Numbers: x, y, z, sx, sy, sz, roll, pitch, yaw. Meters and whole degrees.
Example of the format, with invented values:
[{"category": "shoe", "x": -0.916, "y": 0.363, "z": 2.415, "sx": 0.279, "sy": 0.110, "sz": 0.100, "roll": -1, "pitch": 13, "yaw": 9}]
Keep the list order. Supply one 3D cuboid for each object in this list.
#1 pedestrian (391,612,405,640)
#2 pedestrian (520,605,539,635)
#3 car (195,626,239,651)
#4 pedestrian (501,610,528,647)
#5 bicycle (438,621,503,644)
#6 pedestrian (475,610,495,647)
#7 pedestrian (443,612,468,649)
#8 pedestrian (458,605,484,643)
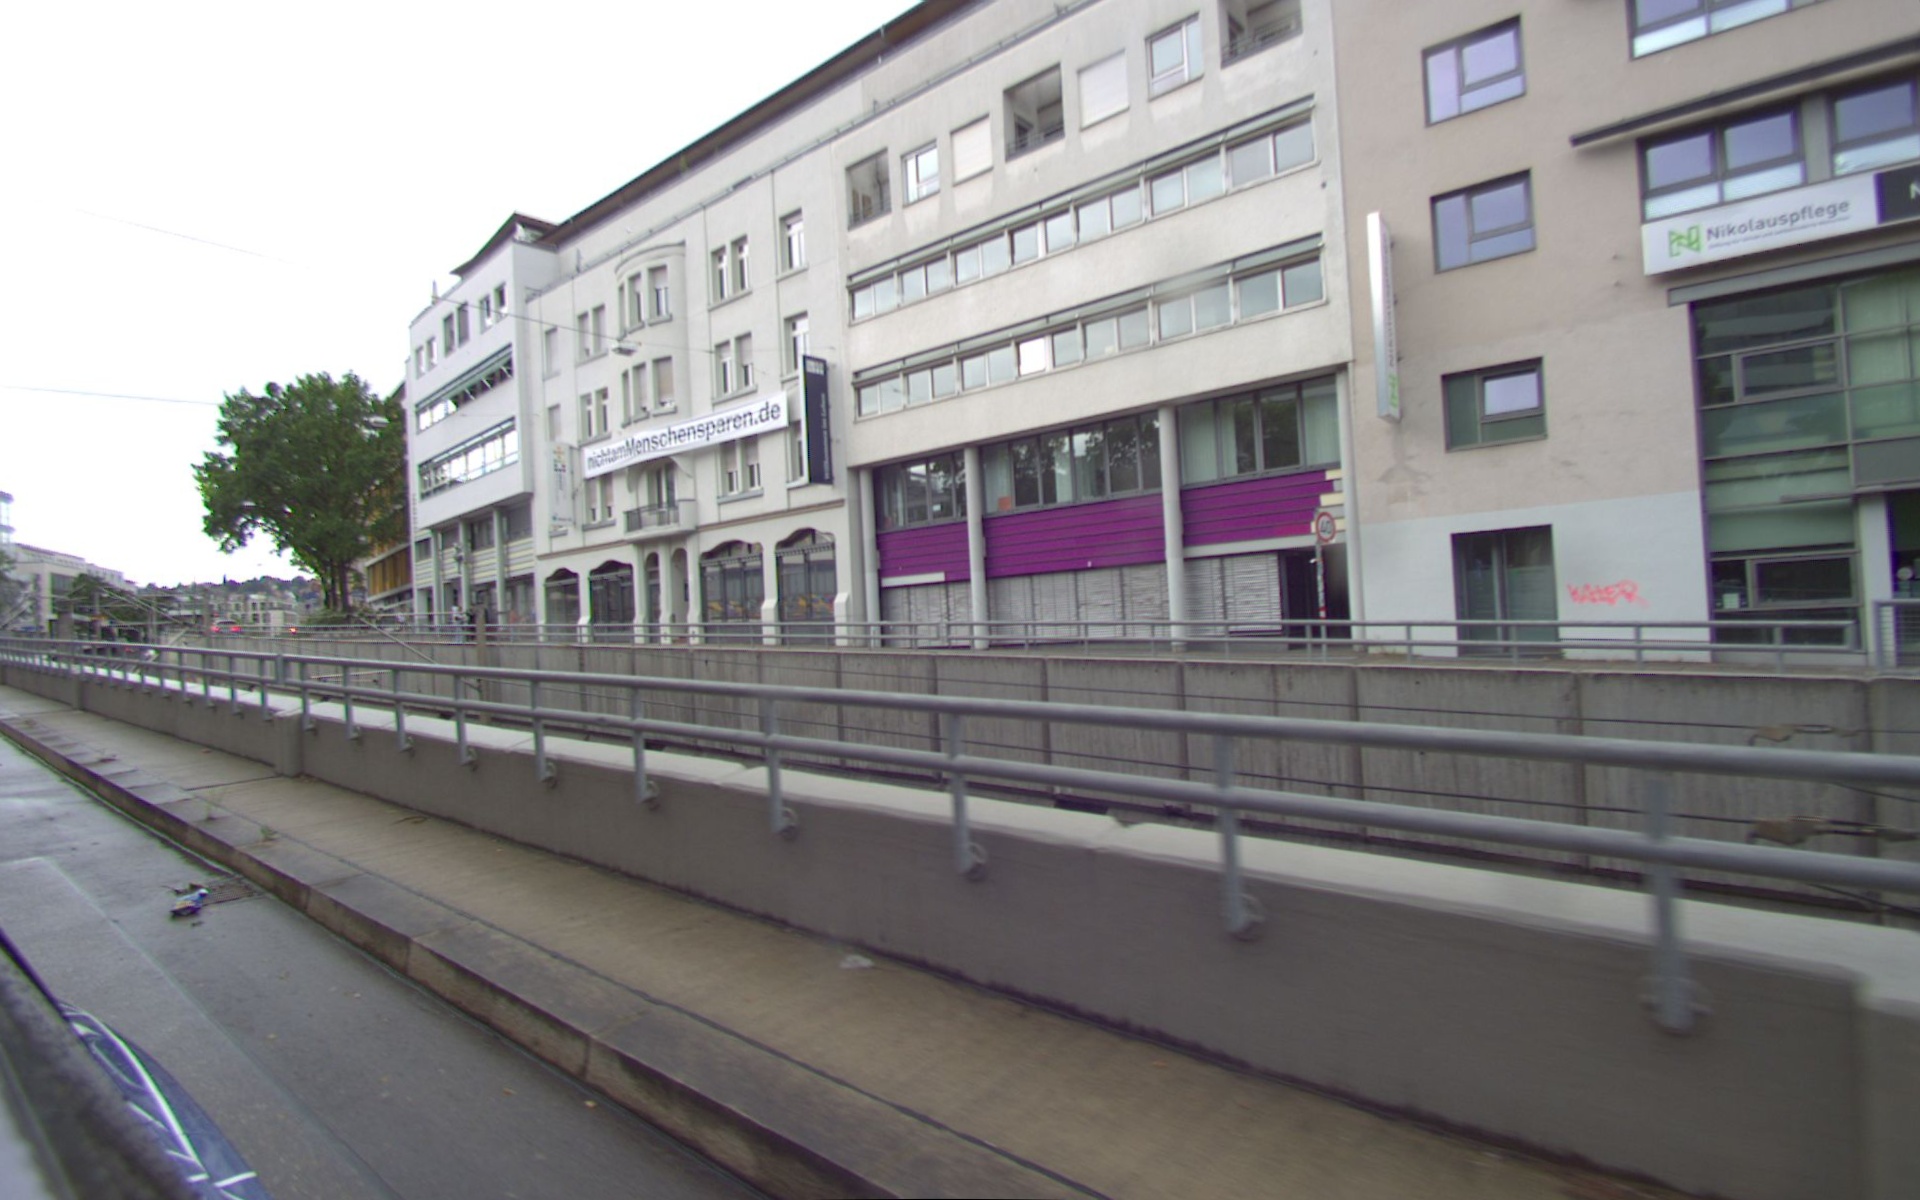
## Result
[{"category": "pedestrian", "x": -37.407, "y": 1.743, "z": 67.413, "sx": 0.657, "sy": 1.863, "sz": 0.831, "roll": 1, "pitch": -3, "yaw": -40}, {"category": "pedestrian", "x": -20.914, "y": 0.990, "z": 49.150, "sx": 0.600, "sy": 1.430, "sz": 0.674, "roll": -1, "pitch": -1, "yaw": -44}, {"category": "car", "x": -54.769, "y": 2.822, "z": 74.591, "sx": 4.577, "sy": 1.726, "sz": 1.816, "roll": -3, "pitch": -1, "yaw": 43}, {"category": "pedestrian", "x": -20.067, "y": 1.271, "z": 45.587, "sx": 0.937, "sy": 1.628, "sz": 0.667, "roll": -2, "pitch": -1, "yaw": 26}, {"category": "bicycle", "x": -25.431, "y": 1.666, "z": 52.478, "sx": 1.673, "sy": 1.051, "sz": 4.525, "roll": -2, "pitch": 0, "yaw": -44}, {"category": "pedestrian", "x": -22.429, "y": 1.328, "z": 47.772, "sx": 0.601, "sy": 1.735, "sz": 0.673, "roll": -2, "pitch": -1, "yaw": 1}, {"category": "pedestrian", "x": -23.572, "y": 1.418, "z": 47.275, "sx": 0.784, "sy": 1.655, "sz": 0.674, "roll": -2, "pitch": -1, "yaw": -2}, {"category": "pedestrian", "x": -23.499, "y": 1.165, "z": 48.606, "sx": 0.937, "sy": 1.798, "sz": 0.667, "roll": -2, "pitch": -1, "yaw": 26}]
